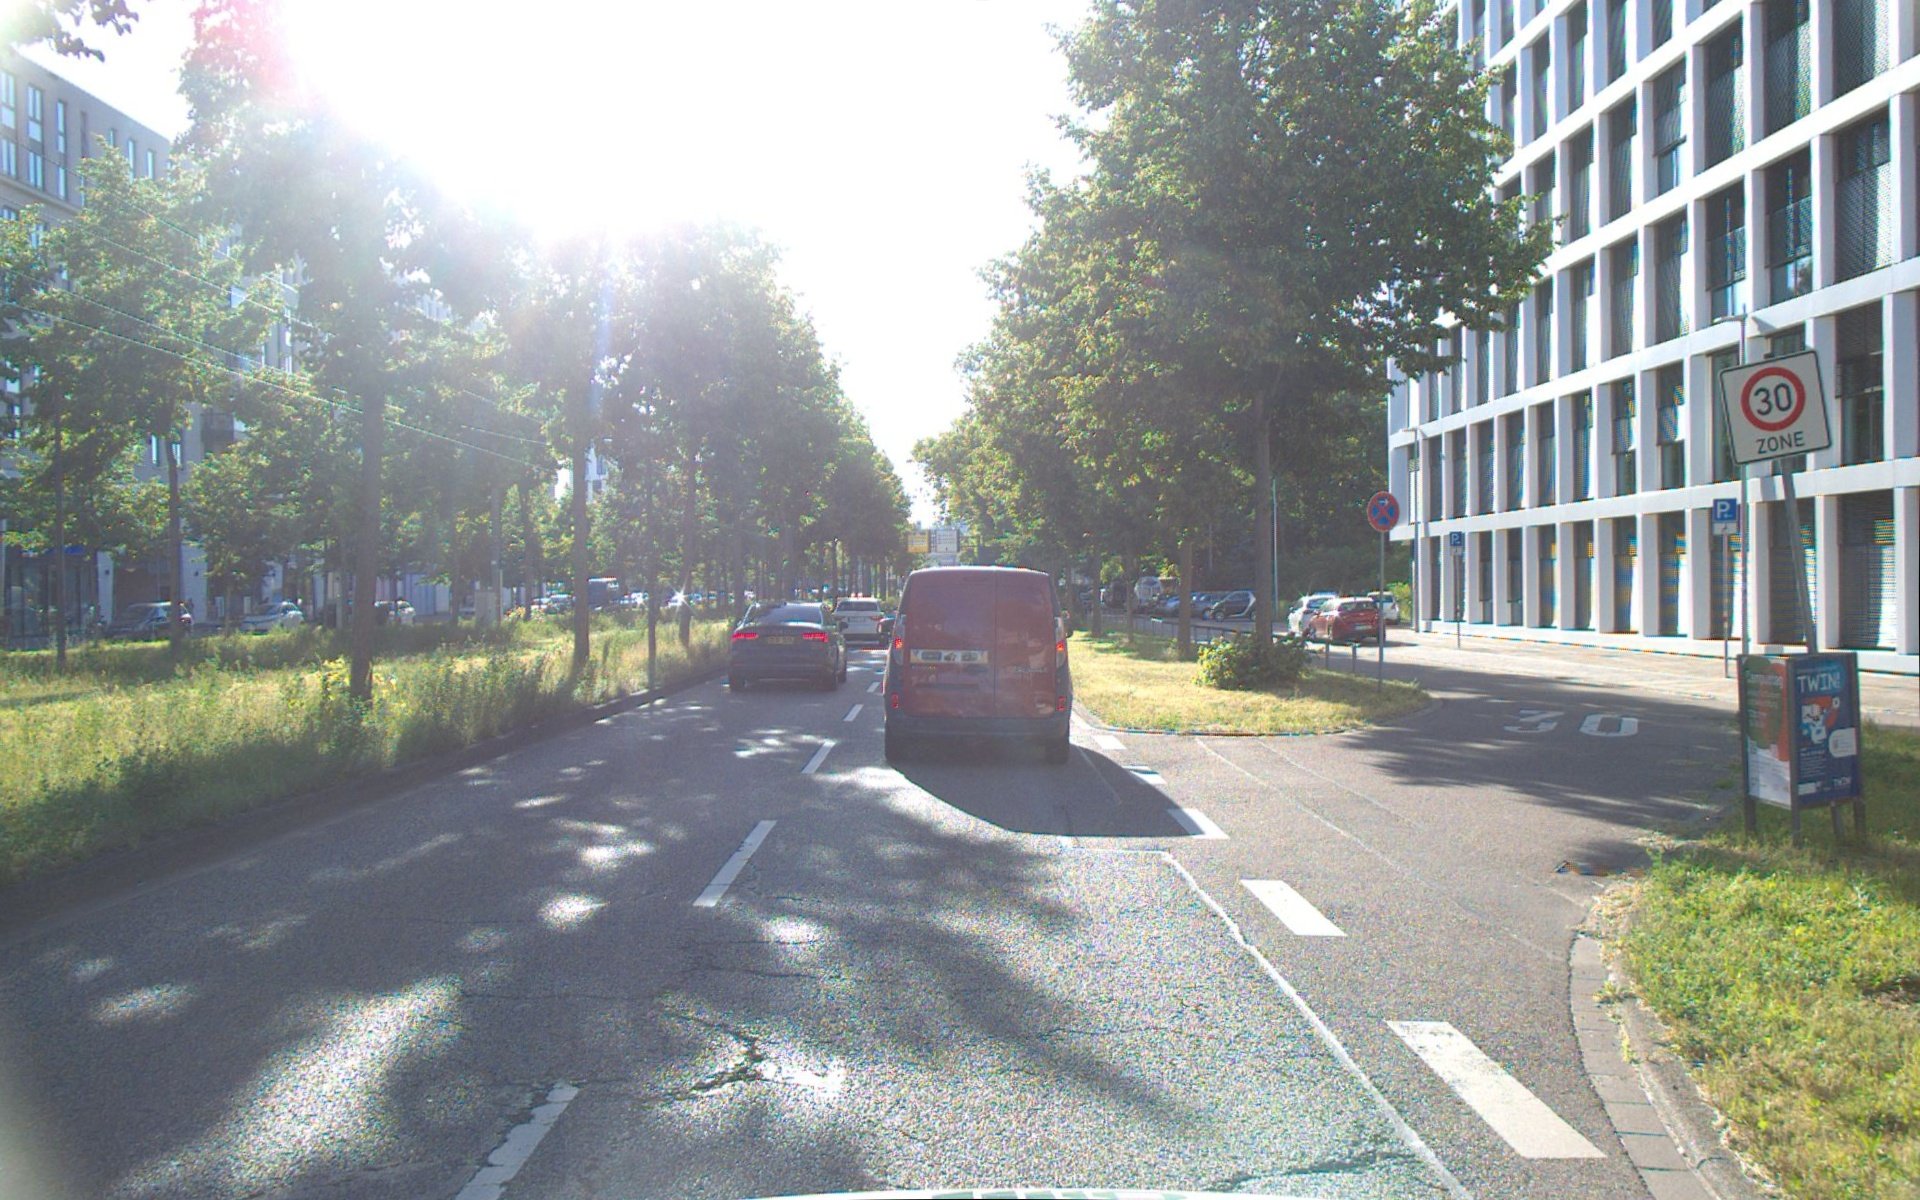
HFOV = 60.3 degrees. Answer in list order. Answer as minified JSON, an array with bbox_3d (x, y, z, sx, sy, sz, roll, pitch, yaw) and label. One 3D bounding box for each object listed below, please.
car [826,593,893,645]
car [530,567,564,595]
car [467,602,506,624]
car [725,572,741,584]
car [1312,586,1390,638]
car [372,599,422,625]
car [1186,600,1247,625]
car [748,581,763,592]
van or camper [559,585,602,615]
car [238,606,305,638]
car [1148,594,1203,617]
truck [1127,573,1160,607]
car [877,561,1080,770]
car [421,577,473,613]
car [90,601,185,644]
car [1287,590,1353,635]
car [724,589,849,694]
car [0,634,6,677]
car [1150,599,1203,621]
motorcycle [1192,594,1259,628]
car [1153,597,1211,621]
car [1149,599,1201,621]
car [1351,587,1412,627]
[{"bbox_3d":[-3.001,0.536,50.068,1.771,1.459,4.112,-1,1,-1],"label":"car"},{"bbox_3d":[-31.175,-1.435,124.889,1.694,2.049,3.998,-1,1,-3],"label":"car"},{"bbox_3d":[-31.103,0.854,108.725,1.548,1.366,3.711,-1,0,-1],"label":"car"},{"bbox_3d":[-31.084,-2.980,226.370,1.720,1.601,3.999,0,1,-1],"label":"car"},{"bbox_3d":[12.821,0.369,54.430,1.721,1.640,3.904,0,1,1],"label":"car"},{"bbox_3d":[-31.072,0.656,91.351,1.548,1.366,3.711,-1,0,-1],"label":"car"},{"bbox_3d":[14.487,0.694,93.478,3.326,1.382,1.472,-1,0,6],"label":"car"},{"bbox_3d":[-30.359,-1.998,245.729,1.720,1.601,3.999,-1,0,-1],"label":"car"},{"bbox_3d":[-22.980,-0.026,100.277,1.783,1.768,3.711,-1,0,-1],"label":"van or camper"},{"bbox_3d":[-31.438,0.999,75.570,1.548,1.366,3.711,-1,0,-1],"label":"car"},{"bbox_3d":[13.351,0.339,102.411,3.326,1.382,1.472,-1,0,6],"label":"car"},{"bbox_3d":[13.878,-0.738,125.273,1.794,2.544,5.931,0,0,-1],"label":"truck"},{"bbox_3d":[0.098,0.570,16.631,1.771,1.825,4.111,1,0,-2],"label":"car"},{"bbox_3d":[-30.083,-0.317,97.137,1.953,2.049,3.998,0,1,-2],"label":"car"},{"bbox_3d":[-31.160,0.820,62.799,1.740,1.555,3.805,-1,0,-1],"label":"car"},{"bbox_3d":[12.898,0.423,59.436,1.781,1.559,3.438,-1,0,3],"label":"car"},{"bbox_3d":[-2.793,0.617,27.323,1.772,1.554,4.111,-1,1,-2],"label":"car"},{"bbox_3d":[-30.926,1.765,50.450,1.548,1.366,3.711,-1,0,-1],"label":"car"},{"bbox_3d":[13.756,0.626,105.096,3.326,1.382,1.472,-1,0,6],"label":"car"},{"bbox_3d":[13.726,0.558,85.673,3.326,1.692,1.472,-1,0,6],"label":"motorcycle"},{"bbox_3d":[13.131,0.532,97.963,3.326,1.382,1.472,-1,0,6],"label":"car"},{"bbox_3d":[13.937,0.644,107.404,3.326,1.382,1.472,-1,0,6],"label":"car"},{"bbox_3d":[19.961,0.316,78.501,1.952,1.847,4.000,0,0,1],"label":"car"}]
